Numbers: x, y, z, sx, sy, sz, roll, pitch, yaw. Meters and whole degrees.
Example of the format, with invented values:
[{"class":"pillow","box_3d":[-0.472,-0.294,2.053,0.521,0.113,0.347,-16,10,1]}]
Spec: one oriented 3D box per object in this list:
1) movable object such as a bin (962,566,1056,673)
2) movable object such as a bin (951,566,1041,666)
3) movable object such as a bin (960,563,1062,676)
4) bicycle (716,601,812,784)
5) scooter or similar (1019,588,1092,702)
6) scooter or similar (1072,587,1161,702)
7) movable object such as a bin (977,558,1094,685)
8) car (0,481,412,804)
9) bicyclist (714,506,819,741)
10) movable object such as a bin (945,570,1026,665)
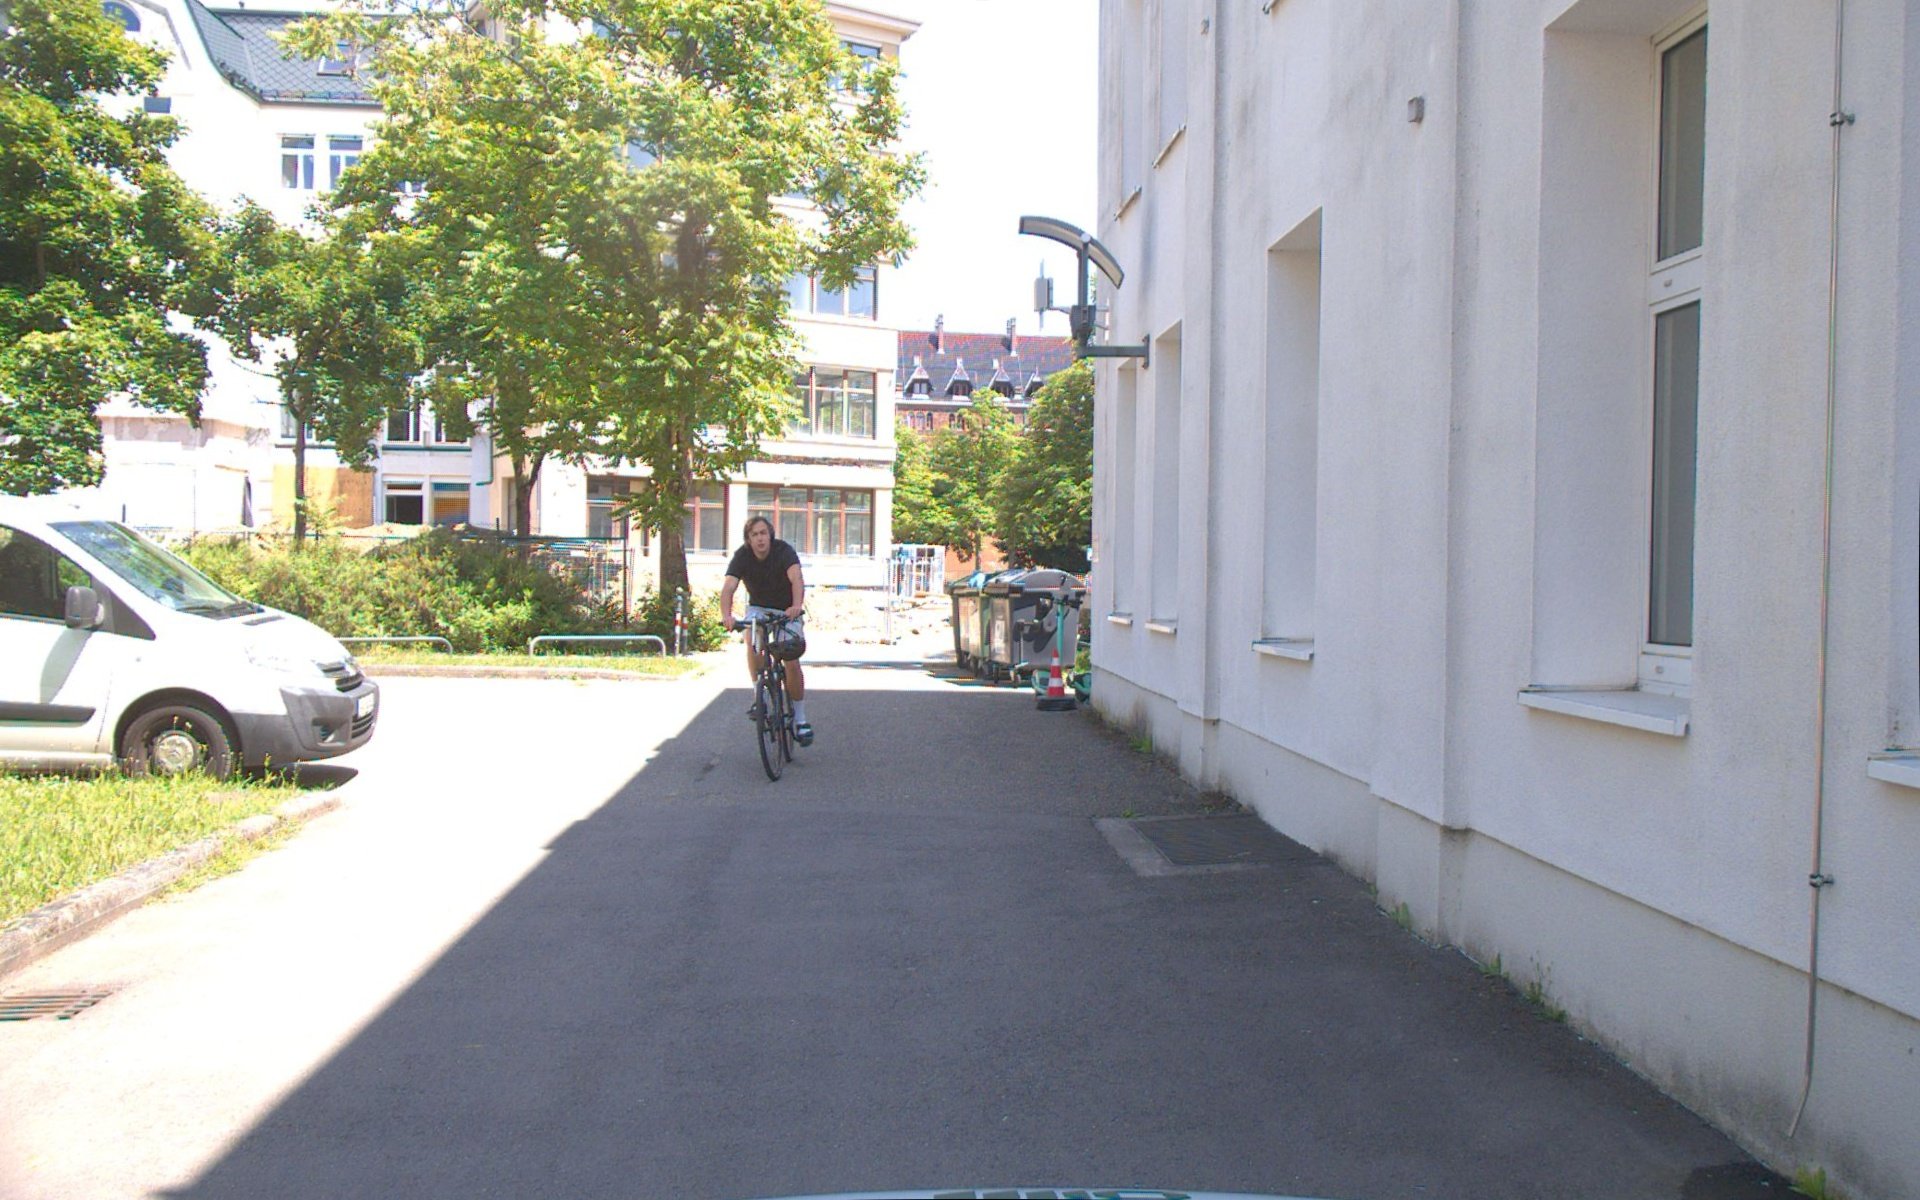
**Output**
[{"class":"movable object such as a bin","box_3d":[0.696,0.275,24.004,1.156,1.495,1.309,1,0,-8]},{"class":"movable object such as a bin","box_3d":[0.535,0.242,25.437,1.157,1.495,1.309,1,0,-9]},{"class":"movable object such as a bin","box_3d":[0.681,0.265,22.616,1.157,1.495,1.308,1,0,-10]},{"class":"bicycle","box_3d":[-1.408,0.628,12.117,0.631,1.194,1.902,1,1,-5]},{"class":"scooter or similar","box_3d":[1.036,0.473,18.089,0.455,1.194,1.353,0,0,-12]},{"class":"scooter or similar","box_3d":[1.680,0.463,17.919,0.457,1.194,1.248,0,0,-20]},{"class":"movable object such as a bin","box_3d":[0.934,0.271,20.896,1.135,1.532,1.458,1,0,-13]},{"class":"car","box_3d":[-6.252,0.254,10.917,4.699,1.945,1.996,0,0,-9]},{"class":"bicyclist","box_3d":[-1.404,0.161,12.097,0.709,1.637,0.977,1,1,-6]},{"class":"movable object such as a bin","box_3d":[0.423,0.278,26.971,1.154,1.495,1.334,1,0,8]}]
